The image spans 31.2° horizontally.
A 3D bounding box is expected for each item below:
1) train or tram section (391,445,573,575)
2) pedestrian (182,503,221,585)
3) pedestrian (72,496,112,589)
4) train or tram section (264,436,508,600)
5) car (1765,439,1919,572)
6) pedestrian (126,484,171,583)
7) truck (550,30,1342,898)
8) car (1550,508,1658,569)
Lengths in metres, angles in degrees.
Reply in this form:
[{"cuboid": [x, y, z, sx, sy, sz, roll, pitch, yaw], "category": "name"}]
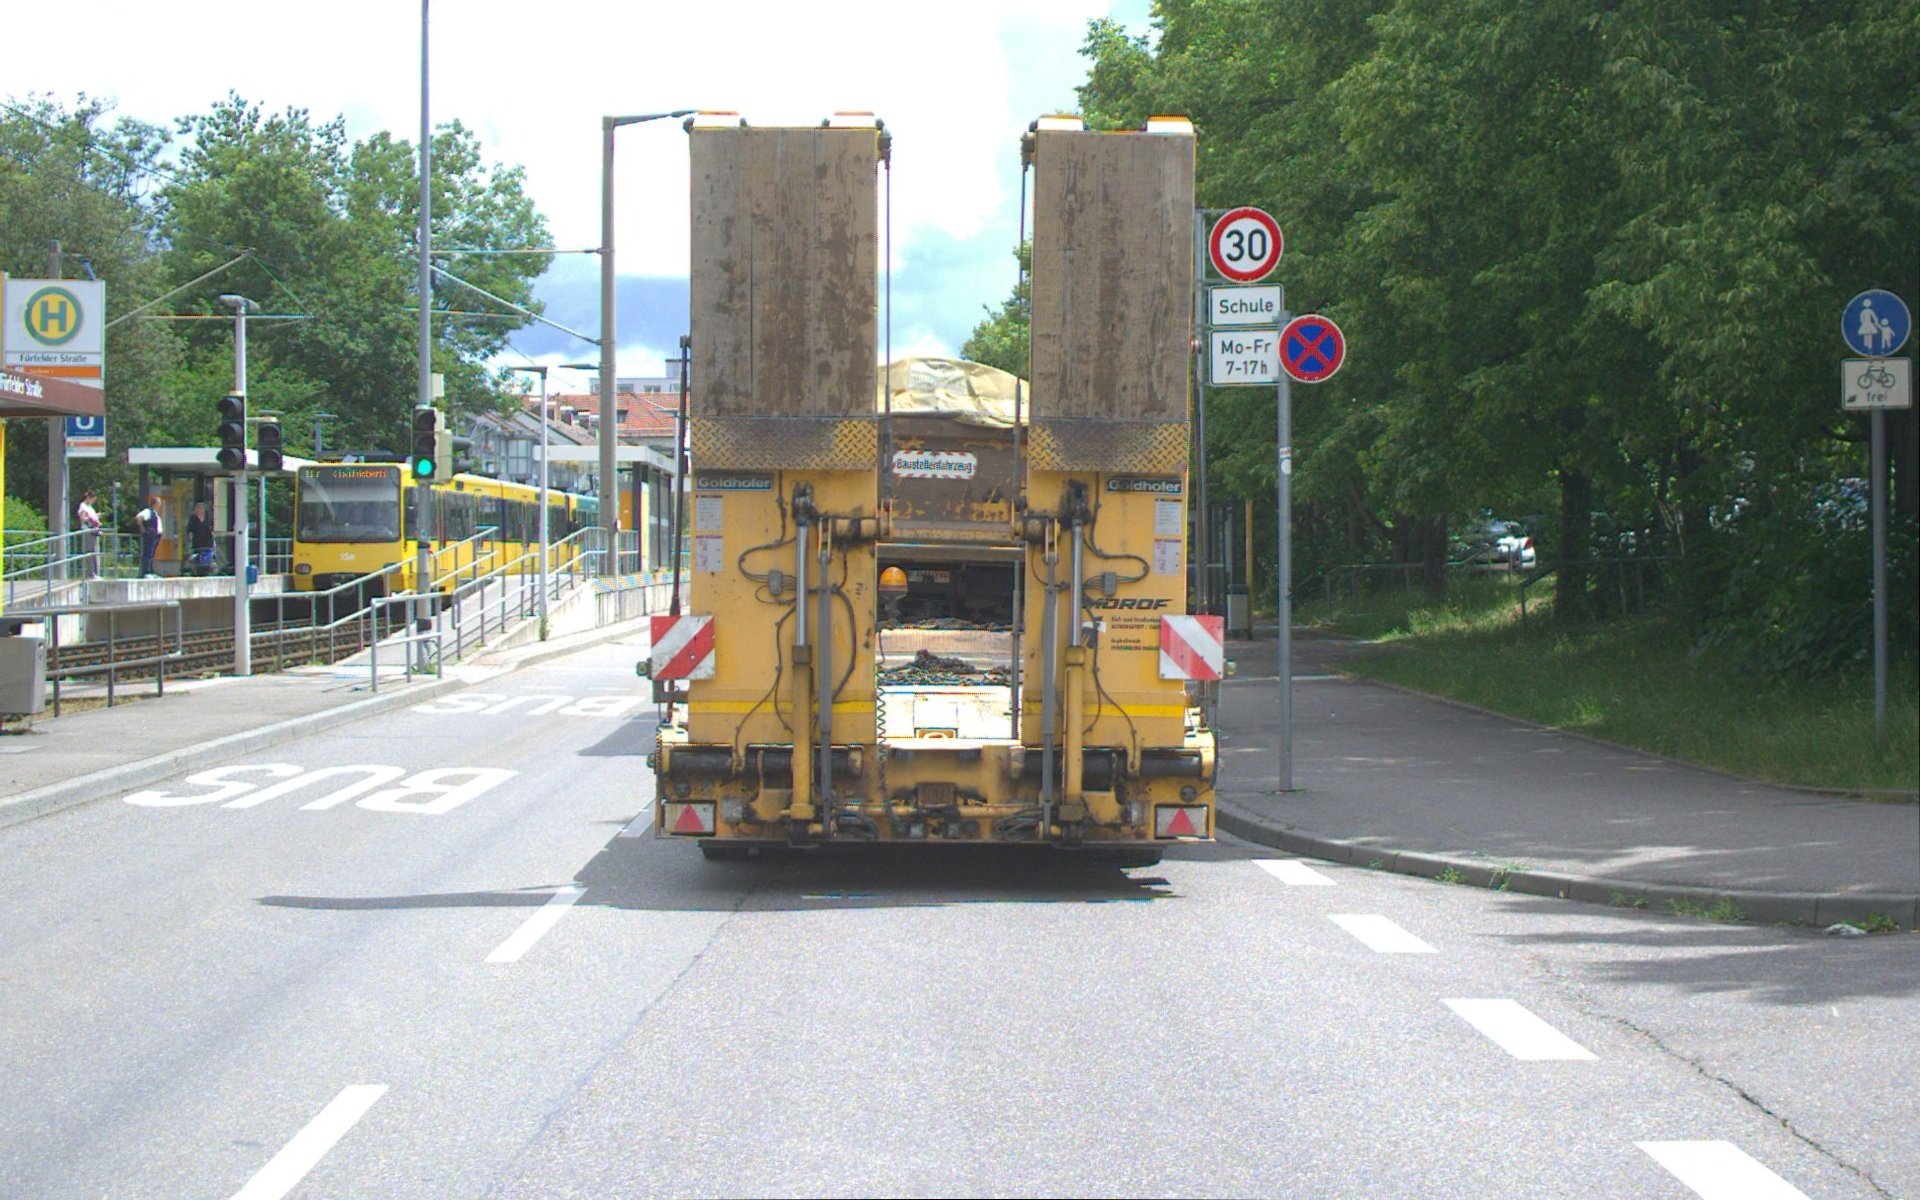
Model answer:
[{"cuboid": [-14.092, -2.584, 103.113, 3.108, 3.453, 18.998, 2, 1, -1], "category": "train or tram section"}, {"cuboid": [-15.985, -1.187, 72.425, 0.639, 1.701, 0.646, 2, 1, -1], "category": "pedestrian"}, {"cuboid": [-16.802, -1.112, 66.530, 0.584, 1.771, 0.576, 2, 1, -1], "category": "pedestrian"}, {"cuboid": [-13.713, -1.909, 84.180, 3.108, 3.453, 18.827, 2, 1, -1], "category": "train or tram section"}, {"cuboid": [11.257, -1.159, 42.183, 1.626, 1.509, 4.139, -3, 1, -1], "category": "car"}, {"cuboid": [-16.724, -1.367, 70.867, 0.712, 2.007, 0.732, 2, 1, -3], "category": "pedestrian"}, {"cuboid": [-0.468, -0.674, 21.700, 3.402, 3.719, 13.740, 0, 1, -3], "category": "truck"}, {"cuboid": [16.083, -1.521, 85.994, 1.841, 1.415, 4.124, -2, 1, -1], "category": "car"}]
